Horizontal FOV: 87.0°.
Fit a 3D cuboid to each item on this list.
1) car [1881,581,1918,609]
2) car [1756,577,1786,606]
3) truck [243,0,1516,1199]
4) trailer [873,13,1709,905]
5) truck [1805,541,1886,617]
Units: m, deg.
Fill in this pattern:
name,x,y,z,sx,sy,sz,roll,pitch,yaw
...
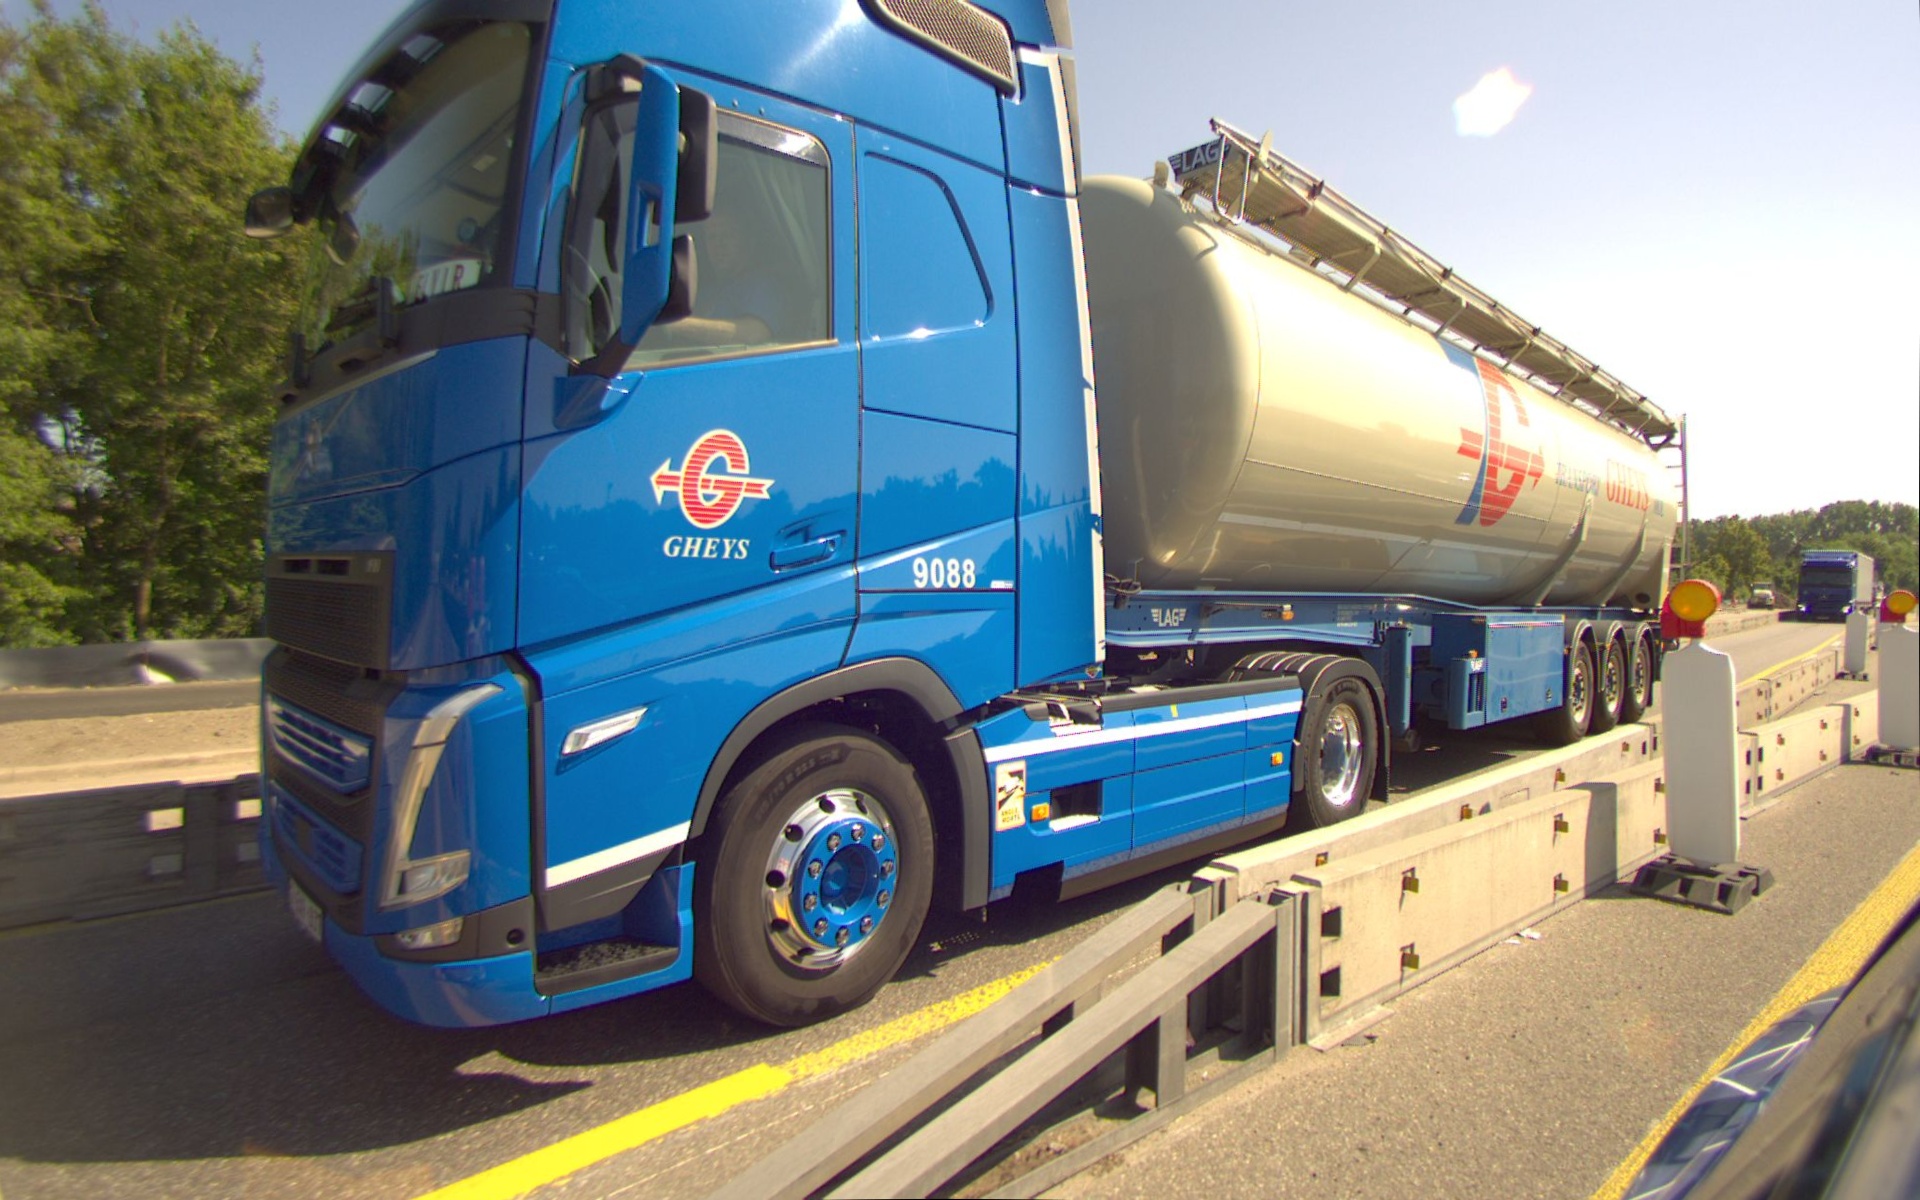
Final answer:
name,x,y,z,sx,sy,sz,roll,pitch,yaw
car,74.880,-0.404,80.636,1.995,2.038,3.936,4,3,44
car,80.099,-0.855,99.978,2.101,2.674,5.902,4,3,38
truck,0.506,-0.705,5.802,2.696,4.152,7.183,4,3,44
trailer,4.757,-0.763,10.188,2.696,4.187,12.413,4,3,44
truck,51.322,-1.223,58.570,2.856,4.033,8.526,4,3,45
